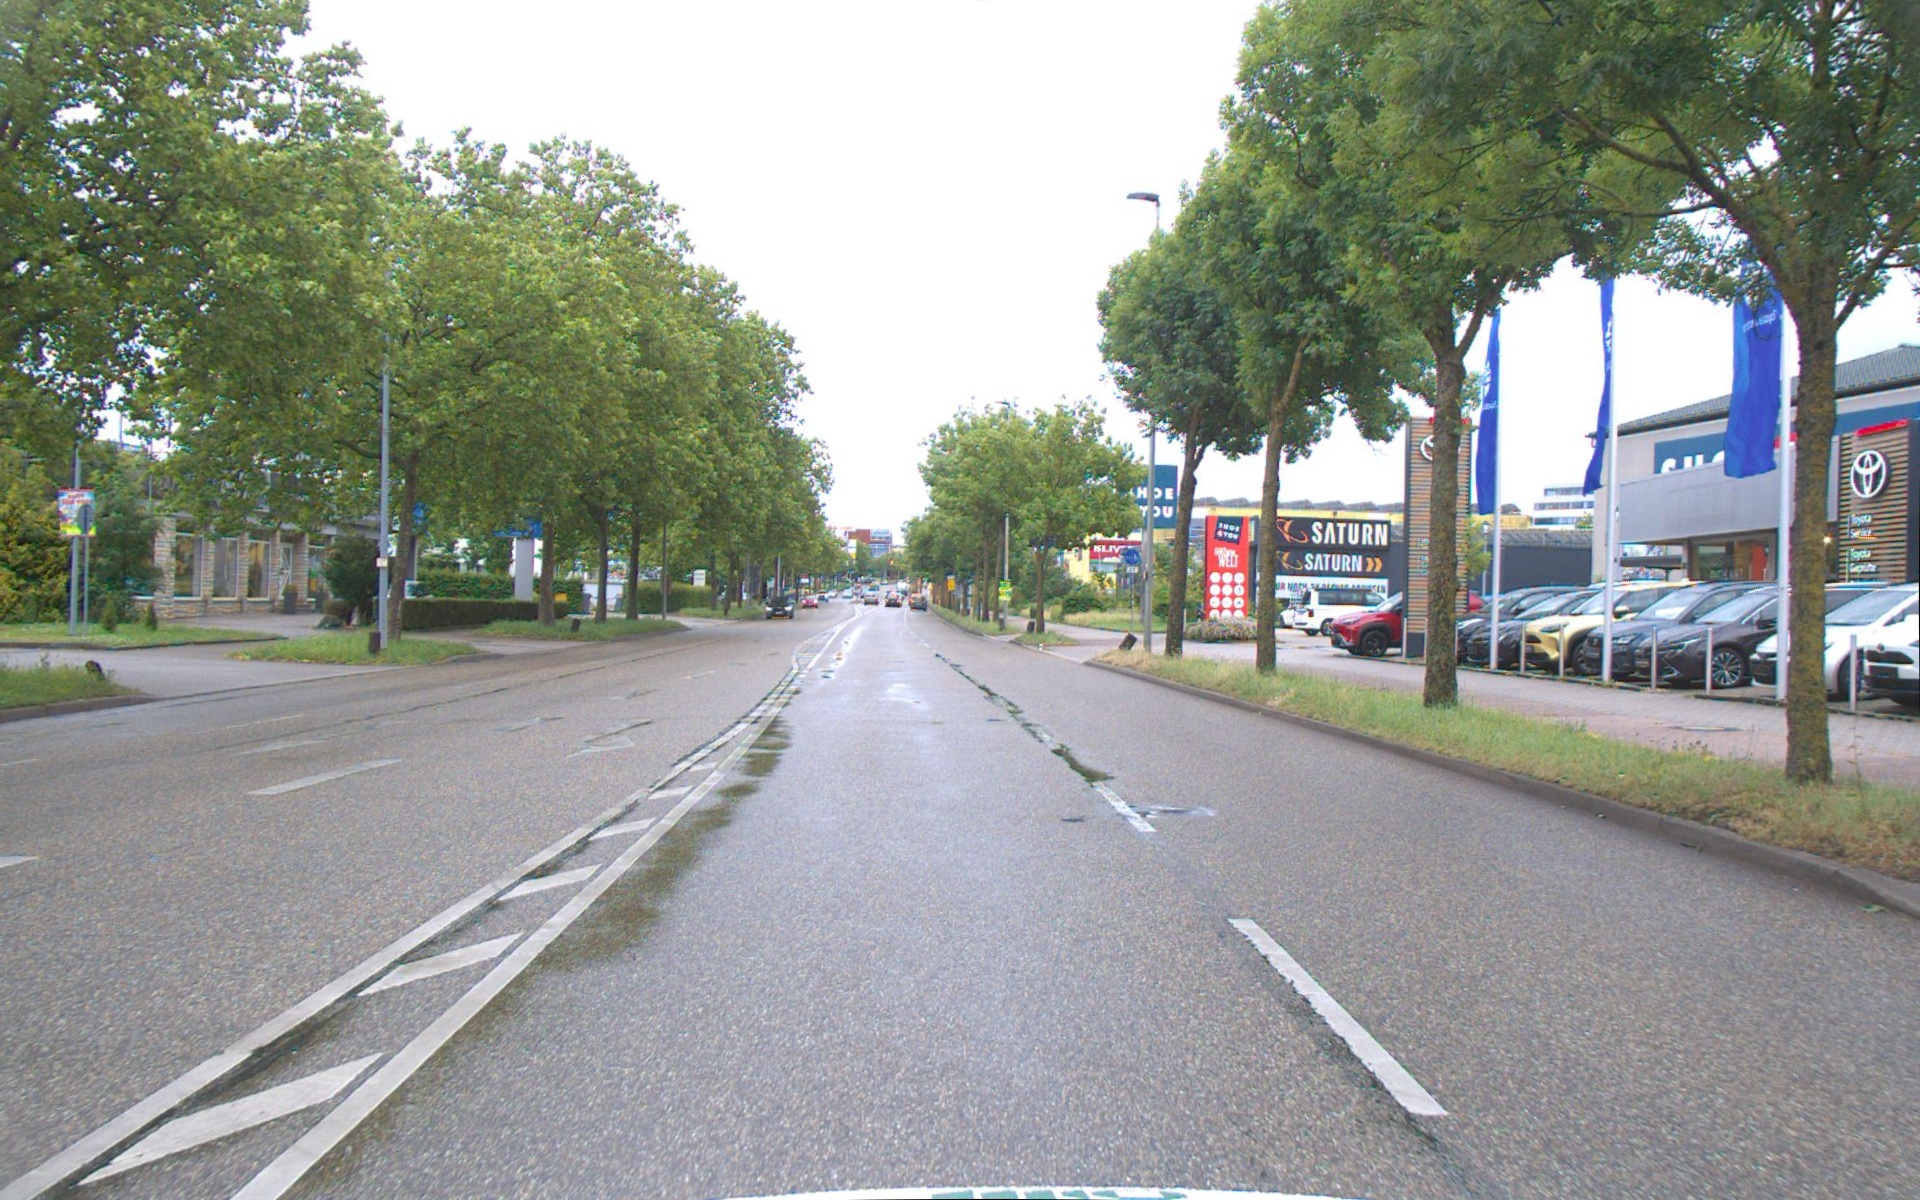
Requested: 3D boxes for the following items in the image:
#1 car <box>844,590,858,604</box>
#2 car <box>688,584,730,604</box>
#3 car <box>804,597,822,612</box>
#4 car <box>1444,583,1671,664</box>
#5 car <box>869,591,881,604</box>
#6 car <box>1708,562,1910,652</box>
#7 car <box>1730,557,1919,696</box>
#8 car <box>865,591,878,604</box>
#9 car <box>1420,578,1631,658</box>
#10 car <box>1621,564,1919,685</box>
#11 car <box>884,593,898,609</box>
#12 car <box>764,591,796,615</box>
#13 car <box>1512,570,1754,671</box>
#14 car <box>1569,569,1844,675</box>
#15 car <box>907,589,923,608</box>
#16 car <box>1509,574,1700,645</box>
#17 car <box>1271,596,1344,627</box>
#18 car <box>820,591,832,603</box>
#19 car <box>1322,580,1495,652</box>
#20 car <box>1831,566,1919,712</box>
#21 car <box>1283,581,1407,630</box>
[{"bbox_3d":[-16.242,-0.493,246.800,1.954,2.049,3.998,0,0,-3],"label":"car"},{"bbox_3d":[-24.723,-0.563,162.964,3.907,1.958,1.825,0,-1,-2],"label":"car"},{"bbox_3d":[-15.727,0.470,176.883,1.691,1.544,3.819,0,0,-2],"label":"car"},{"bbox_3d":[11.895,0.457,33.079,3.906,1.565,1.799,0,0,-2],"label":"car"},{"bbox_3d":[-12.742,-0.420,248.507,1.853,1.909,4.122,0,0,-3],"label":"car"},{"bbox_3d":[16.744,0.126,32.878,1.836,1.650,4.122,-1,0,-1],"label":"car"},{"bbox_3d":[12.903,0.344,22.622,3.905,1.818,1.812,0,0,0],"label":"car"},{"bbox_3d":[-12.554,-0.327,233.905,1.709,1.730,3.999,0,0,-1],"label":"car"},{"bbox_3d":[12.118,0.381,35.593,3.906,1.676,1.844,0,0,-2],"label":"car"},{"bbox_3d":[12.704,0.368,26.016,3.905,1.818,1.812,0,0,0],"label":"car"},{"bbox_3d":[-8.810,0.085,211.300,1.709,2.049,3.999,0,0,-1],"label":"car"},{"bbox_3d":[-11.774,0.182,108.205,1.767,1.488,3.844,-1,0,-2],"label":"car"},{"bbox_3d":[12.459,0.371,30.729,3.764,1.593,1.665,-3,0,-5],"label":"car"},{"bbox_3d":[12.759,0.369,28.436,3.905,1.574,1.711,-3,0,0],"label":"car"},{"bbox_3d":[-4.909,-0.169,181.857,1.709,2.049,3.999,0,0,-1],"label":"car"},{"bbox_3d":[15.949,0.226,41.082,4.023,1.650,1.881,-1,0,2],"label":"car"},{"bbox_3d":[17.603,0.567,83.943,1.847,1.494,4.938,0,1,-11],"label":"car"},{"bbox_3d":[-20.828,-0.480,257.243,1.669,1.767,4.000,0,0,0],"label":"car"},{"bbox_3d":[11.129,0.387,41.217,3.764,1.631,1.795,-2,0,-2],"label":"car"},{"bbox_3d":[12.980,0.325,19.990,3.909,1.615,1.811,-5,1,-3],"label":"car"},{"bbox_3d":[16.226,0.237,69.865,4.736,2.049,1.984,0,-1,-12],"label":"car"}]
